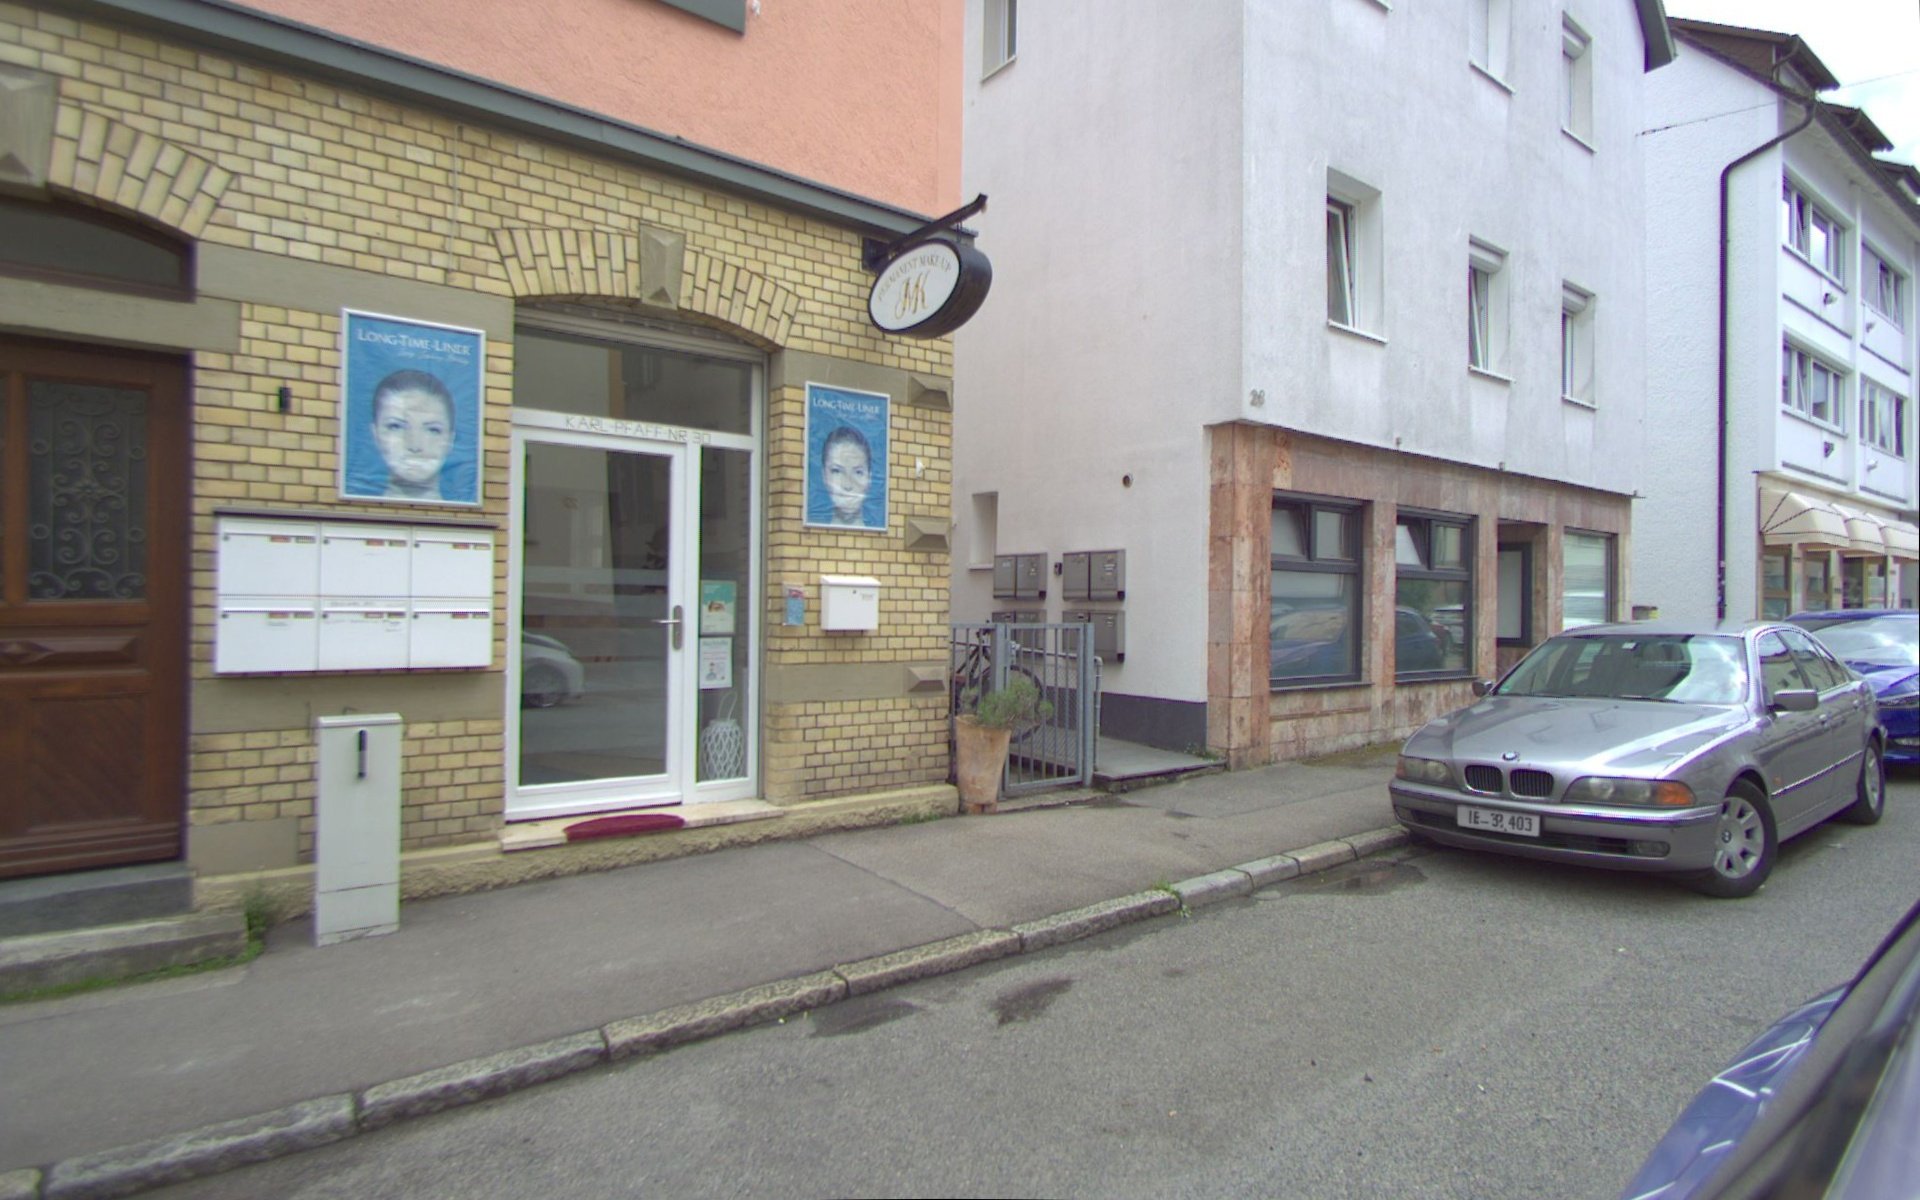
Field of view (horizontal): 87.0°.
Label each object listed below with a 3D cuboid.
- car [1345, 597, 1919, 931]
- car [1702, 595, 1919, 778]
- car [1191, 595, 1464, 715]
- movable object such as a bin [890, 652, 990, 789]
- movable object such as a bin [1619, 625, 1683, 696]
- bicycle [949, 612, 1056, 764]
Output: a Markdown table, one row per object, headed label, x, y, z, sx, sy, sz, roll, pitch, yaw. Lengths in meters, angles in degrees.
| label | x | y | z | sx | sy | sz | roll | pitch | yaw |
| --- | --- | --- | --- | --- | --- | --- | --- | --- | --- |
| car | 4.631 | 0.769 | 6.656 | 4.494 | 1.435 | 1.790 | -1 | -2 | -38 |
| car | 8.998 | 0.706 | 9.879 | 3.855 | 1.450 | 1.756 | -1 | -1 | -37 |
| car | 5.320 | 0.696 | 14.517 | 3.935 | 1.450 | 1.649 | -1 | -1 | -34 |
| movable object such as a bin | -0.152 | 0.883 | 7.619 | 0.538 | 0.936 | 0.504 | 1 | 1 | -41 |
| movable object such as a bin | 9.795 | 0.842 | 14.350 | 0.512 | 0.941 | 0.571 | 1 | 2 | -36 |
| bicycle | 0.354 | 0.729 | 8.895 | 0.289 | 1.234 | 1.202 | 1 | -1 | -33 |
